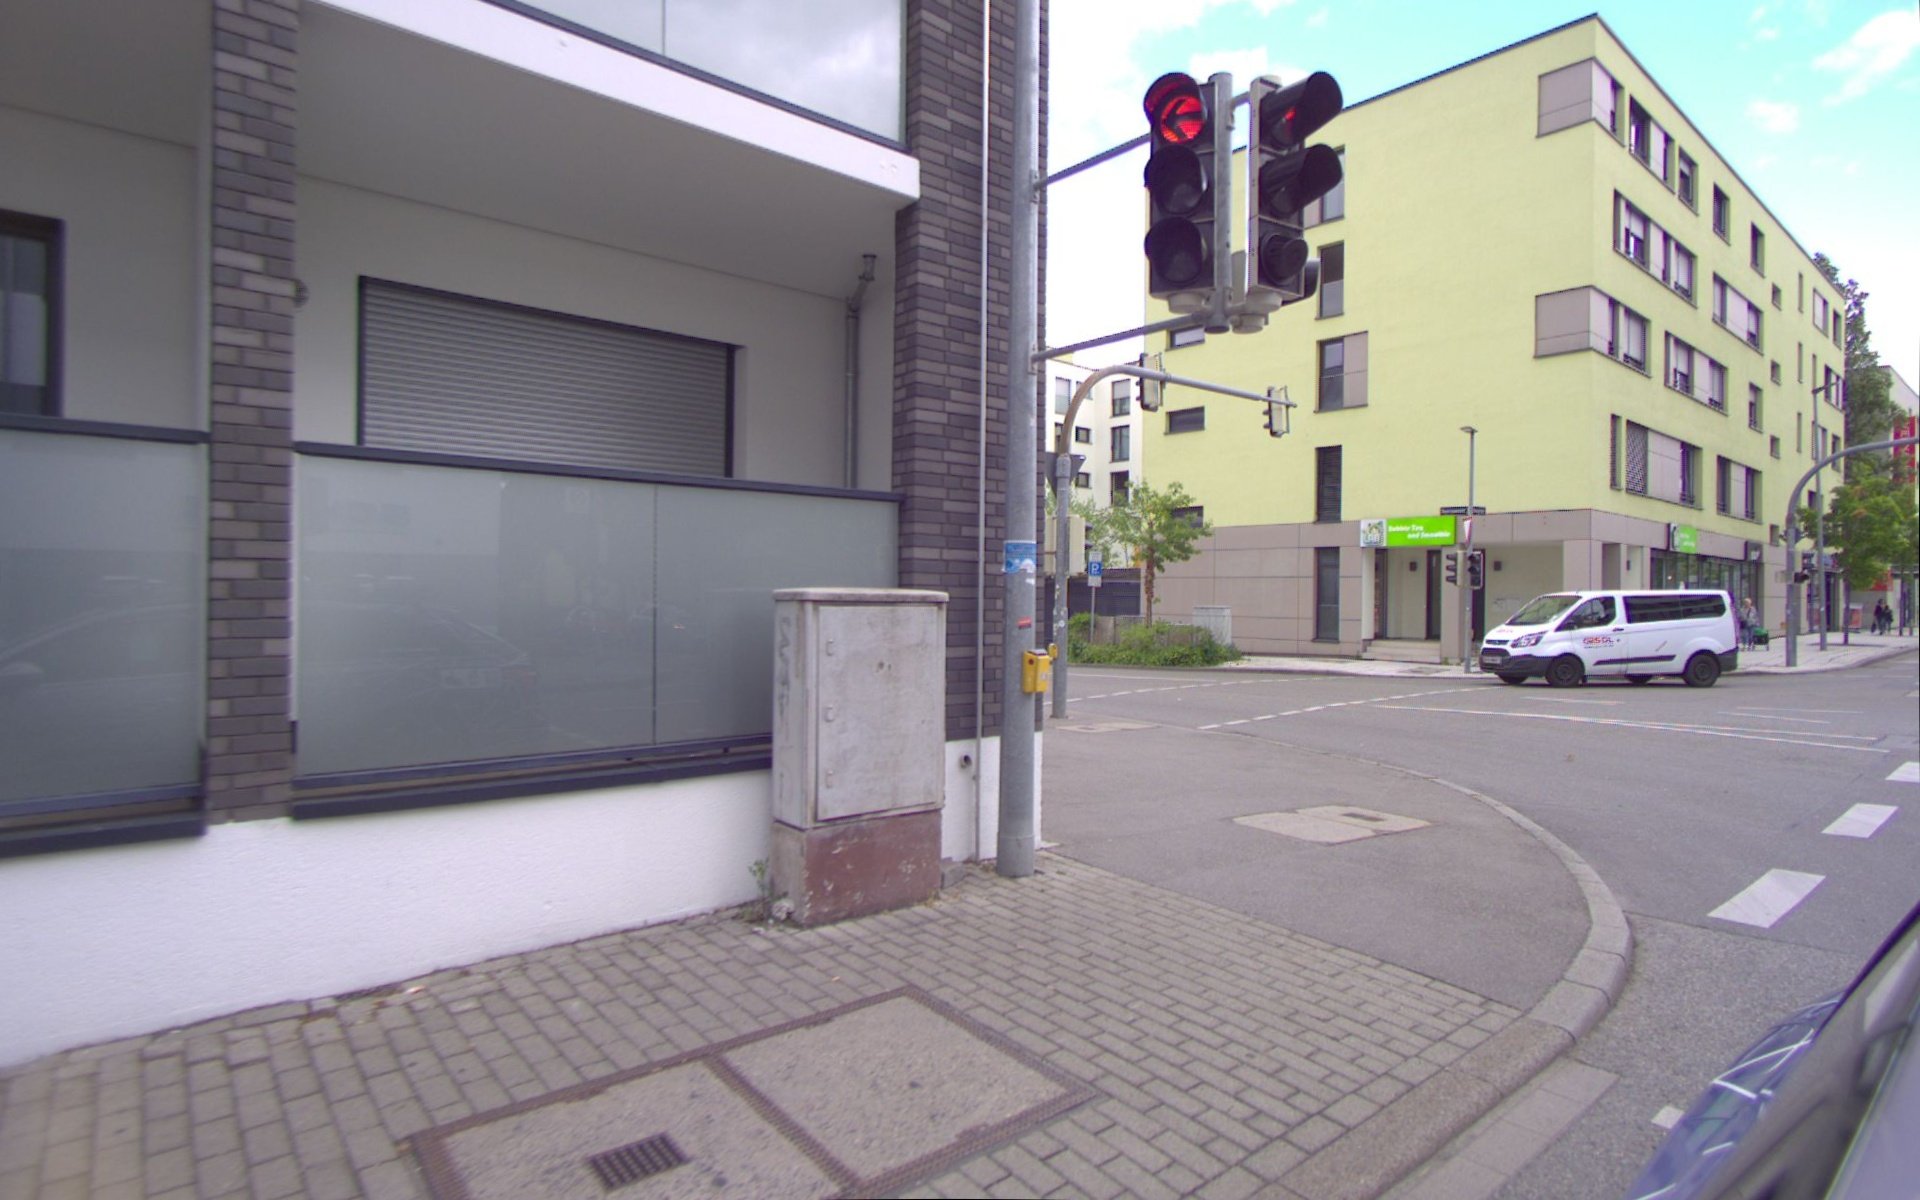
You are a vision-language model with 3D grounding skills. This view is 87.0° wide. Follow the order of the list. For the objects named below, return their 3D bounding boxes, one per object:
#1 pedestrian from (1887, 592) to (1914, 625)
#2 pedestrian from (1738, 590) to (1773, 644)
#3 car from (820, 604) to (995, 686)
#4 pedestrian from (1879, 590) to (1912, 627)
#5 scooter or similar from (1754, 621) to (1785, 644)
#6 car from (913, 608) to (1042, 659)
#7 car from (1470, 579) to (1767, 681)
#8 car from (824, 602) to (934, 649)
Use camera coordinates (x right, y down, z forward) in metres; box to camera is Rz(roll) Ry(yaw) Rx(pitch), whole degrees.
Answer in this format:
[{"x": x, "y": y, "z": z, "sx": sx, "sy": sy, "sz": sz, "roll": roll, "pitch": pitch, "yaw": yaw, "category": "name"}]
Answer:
[{"x": 46.311, "y": 0.397, "z": 49.832, "sx": 0.790, "sy": 1.603, "sz": 0.870, "roll": 1, "pitch": 0, "yaw": -41, "category": "pedestrian"}, {"x": 24.470, "y": 0.517, "z": 31.126, "sx": 0.593, "sy": 1.613, "sz": 0.696, "roll": 1, "pitch": 1, "yaw": -41, "category": "pedestrian"}, {"x": -1.274, "y": 0.970, "z": 22.948, "sx": 1.917, "sy": 1.680, "sz": 4.095, "roll": 1, "pitch": -1, "yaw": -40, "category": "car"}, {"x": 42.011, "y": 0.377, "z": 45.448, "sx": 0.998, "sy": 1.603, "sz": 0.949, "roll": 1, "pitch": 0, "yaw": -41, "category": "pedestrian"}, {"x": 25.140, "y": 1.009, "z": 31.430, "sx": 0.810, "sy": 0.681, "sz": 0.593, "roll": 1, "pitch": 1, "yaw": -41, "category": "scooter or similar"}, {"x": 0.529, "y": 1.104, "z": 34.790, "sx": 1.936, "sy": 1.636, "sz": 4.414, "roll": 1, "pitch": -1, "yaw": -43, "category": "car"}, {"x": 13.664, "y": 0.612, "z": 21.197, "sx": 4.903, "sy": 2.013, "sz": 2.002, "roll": 0, "pitch": -1, "yaw": -2, "category": "car"}, {"x": -3.169, "y": 0.964, "z": 38.853, "sx": 1.936, "sy": 1.682, "sz": 4.414, "roll": 1, "pitch": -1, "yaw": -43, "category": "car"}]
